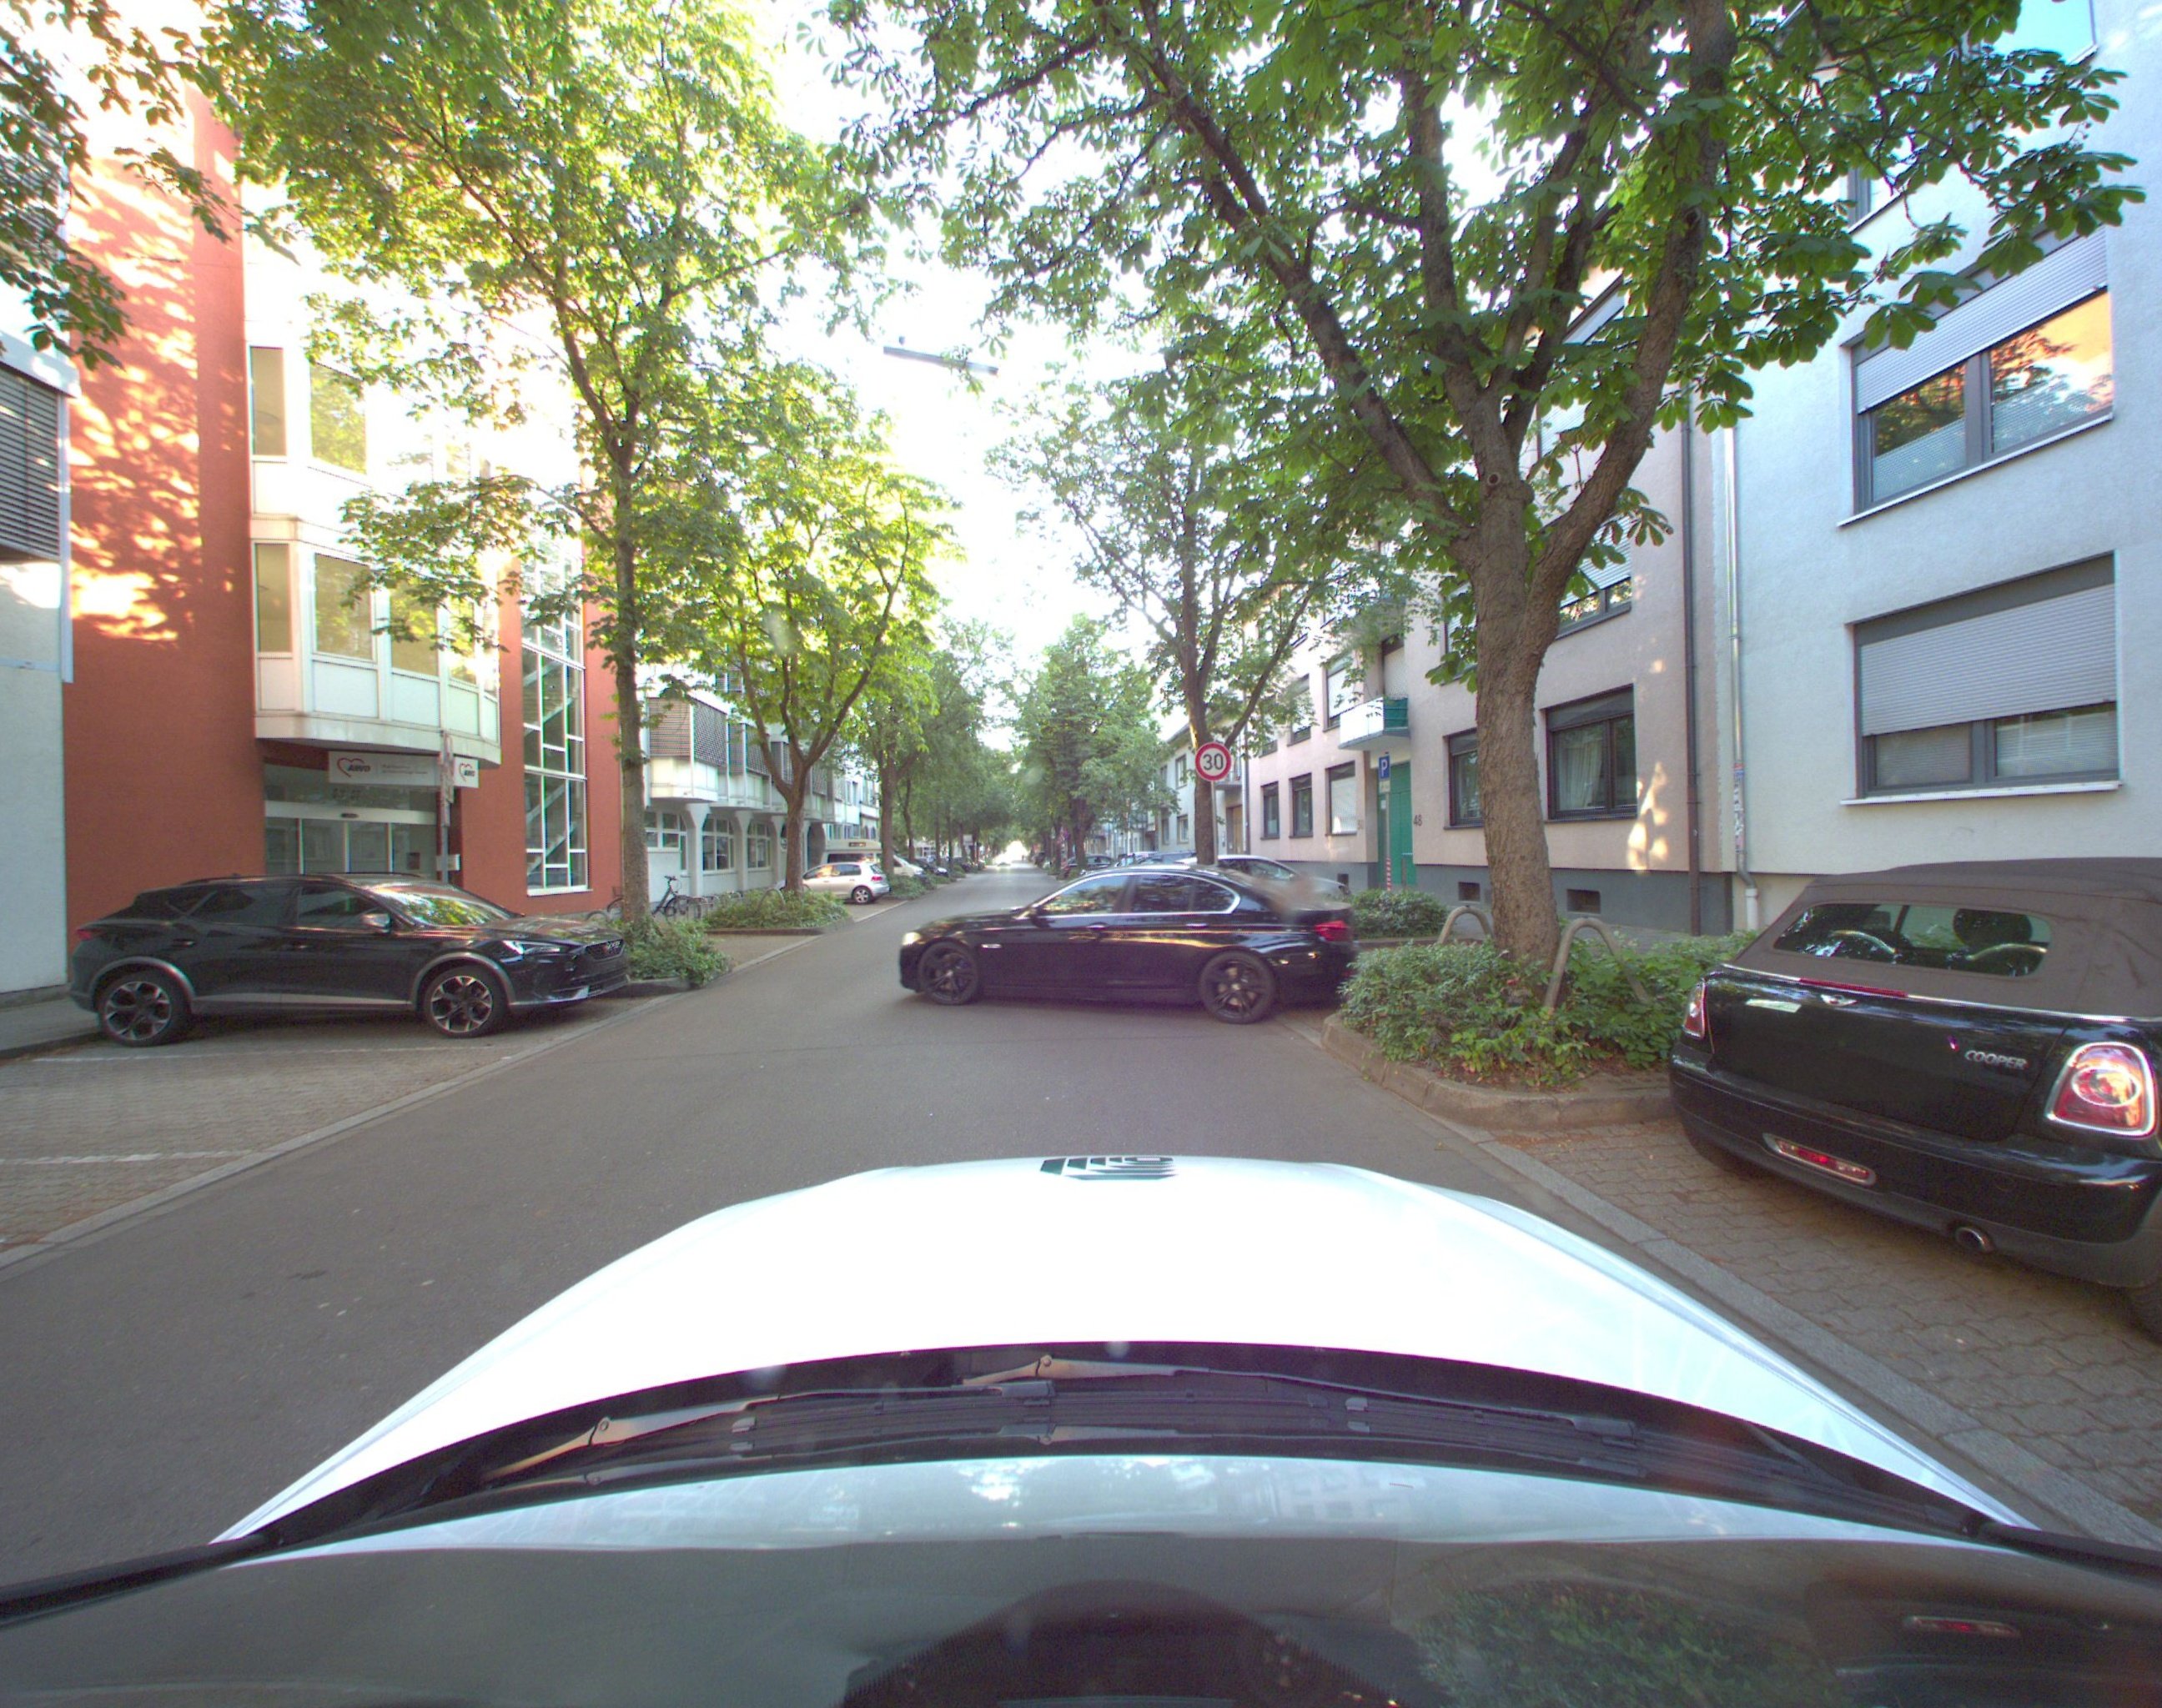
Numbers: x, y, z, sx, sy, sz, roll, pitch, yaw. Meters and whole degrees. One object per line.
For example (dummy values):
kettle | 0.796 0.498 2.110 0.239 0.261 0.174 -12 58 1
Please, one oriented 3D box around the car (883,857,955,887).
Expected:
car | -9.592 1.047 48.424 3.960 1.619 1.783 -2 0 -4

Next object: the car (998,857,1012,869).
car | -10.600 1.263 114.073 1.775 1.562 4.162 -1 0 -4

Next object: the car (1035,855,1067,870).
car | -3.723 1.066 101.057 3.959 1.684 1.783 -2 0 -4

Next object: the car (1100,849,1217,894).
car | 2.774 0.632 29.760 3.963 1.476 1.781 -2 0 -7

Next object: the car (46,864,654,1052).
car | -7.022 0.930 8.276 4.347 1.517 1.782 -2 0 -5

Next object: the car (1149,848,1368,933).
car | 3.436 0.677 16.122 3.904 1.476 1.661 -2 0 -7

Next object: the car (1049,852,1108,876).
car | -0.173 0.665 56.991 3.963 1.527 1.781 -2 0 -6

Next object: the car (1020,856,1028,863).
car | -12.727 1.185 181.308 1.819 1.530 3.995 -2 0 -4

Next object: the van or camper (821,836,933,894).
van or camper | -9.291 0.487 37.421 4.656 2.478 1.997 -1 0 -5

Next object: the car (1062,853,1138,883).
car | 1.019 0.747 45.087 3.962 1.527 1.782 -2 0 -5

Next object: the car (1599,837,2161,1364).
car | 4.347 0.633 3.272 3.608 1.363 1.660 -2 0 -8

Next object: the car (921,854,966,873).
car | -12.885 0.868 76.640 3.959 1.619 1.783 -2 0 -4

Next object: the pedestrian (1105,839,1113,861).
pedestrian | 2.541 -0.388 74.546 0.587 2.013 0.669 -1 0 -3

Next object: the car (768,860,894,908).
car | -8.846 1.044 29.088 3.960 1.517 1.783 -2 0 -4

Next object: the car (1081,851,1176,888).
car | 2.077 0.670 36.245 3.962 1.527 1.782 -2 0 -5

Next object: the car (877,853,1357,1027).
car | 0.412 0.800 8.625 4.706 1.480 1.809 -1 0 19

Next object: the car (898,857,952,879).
car | -12.396 1.073 64.971 3.959 1.619 1.783 -2 0 -4

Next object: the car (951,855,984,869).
car | -14.357 0.998 103.168 3.959 1.619 1.783 -2 0 -4
